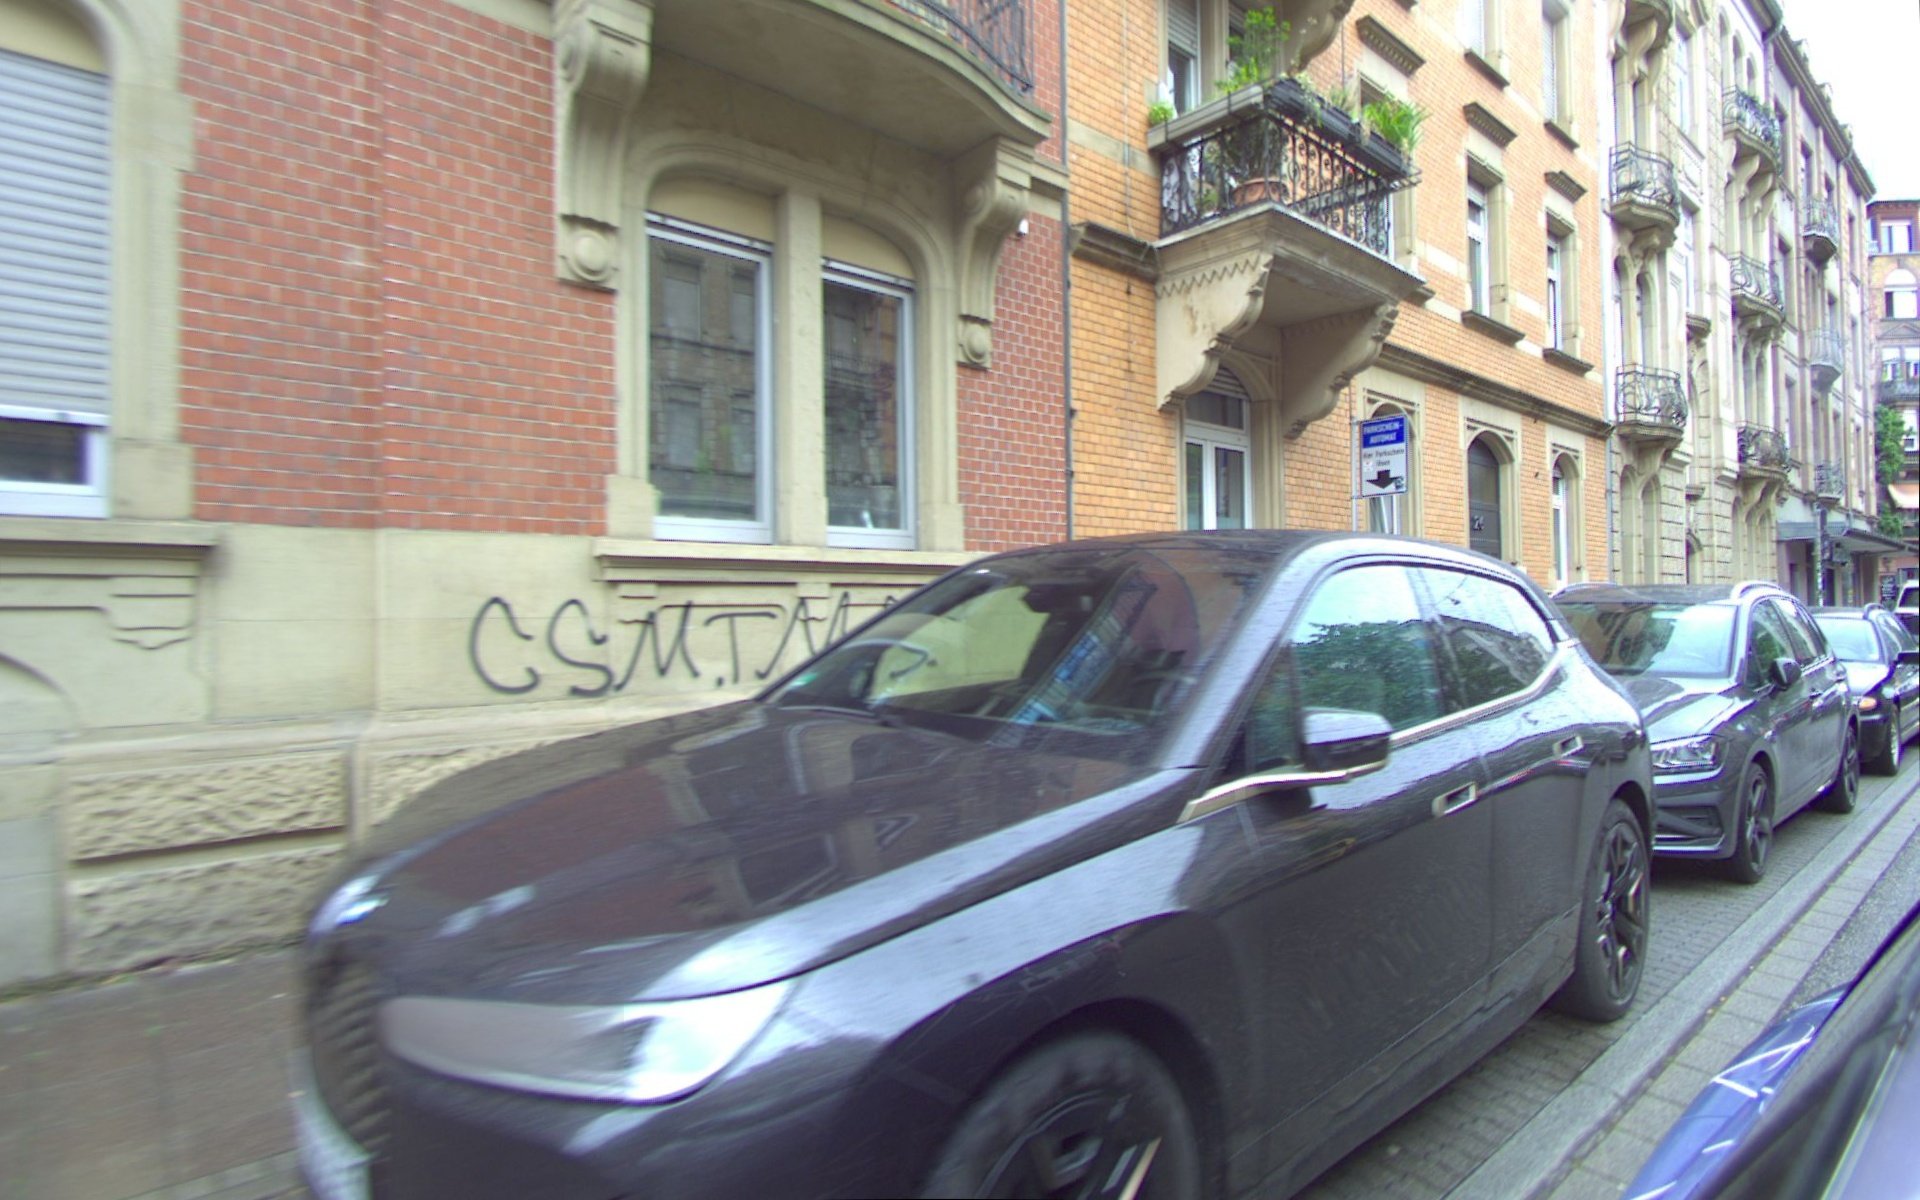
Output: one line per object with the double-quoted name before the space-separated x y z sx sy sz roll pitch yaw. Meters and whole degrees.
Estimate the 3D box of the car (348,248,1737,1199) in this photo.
"car" 0.860 0.509 3.421 4.744 1.802 1.996 -1 0 -42

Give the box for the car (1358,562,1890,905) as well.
"car" 4.625 0.600 6.780 4.268 1.581 1.875 0 0 -40

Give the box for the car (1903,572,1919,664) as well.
"car" 22.860 0.376 22.886 5.144 1.963 1.995 -1 1 -44

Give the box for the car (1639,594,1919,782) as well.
"car" 8.542 0.693 10.101 4.404 1.485 1.790 0 -1 -40
